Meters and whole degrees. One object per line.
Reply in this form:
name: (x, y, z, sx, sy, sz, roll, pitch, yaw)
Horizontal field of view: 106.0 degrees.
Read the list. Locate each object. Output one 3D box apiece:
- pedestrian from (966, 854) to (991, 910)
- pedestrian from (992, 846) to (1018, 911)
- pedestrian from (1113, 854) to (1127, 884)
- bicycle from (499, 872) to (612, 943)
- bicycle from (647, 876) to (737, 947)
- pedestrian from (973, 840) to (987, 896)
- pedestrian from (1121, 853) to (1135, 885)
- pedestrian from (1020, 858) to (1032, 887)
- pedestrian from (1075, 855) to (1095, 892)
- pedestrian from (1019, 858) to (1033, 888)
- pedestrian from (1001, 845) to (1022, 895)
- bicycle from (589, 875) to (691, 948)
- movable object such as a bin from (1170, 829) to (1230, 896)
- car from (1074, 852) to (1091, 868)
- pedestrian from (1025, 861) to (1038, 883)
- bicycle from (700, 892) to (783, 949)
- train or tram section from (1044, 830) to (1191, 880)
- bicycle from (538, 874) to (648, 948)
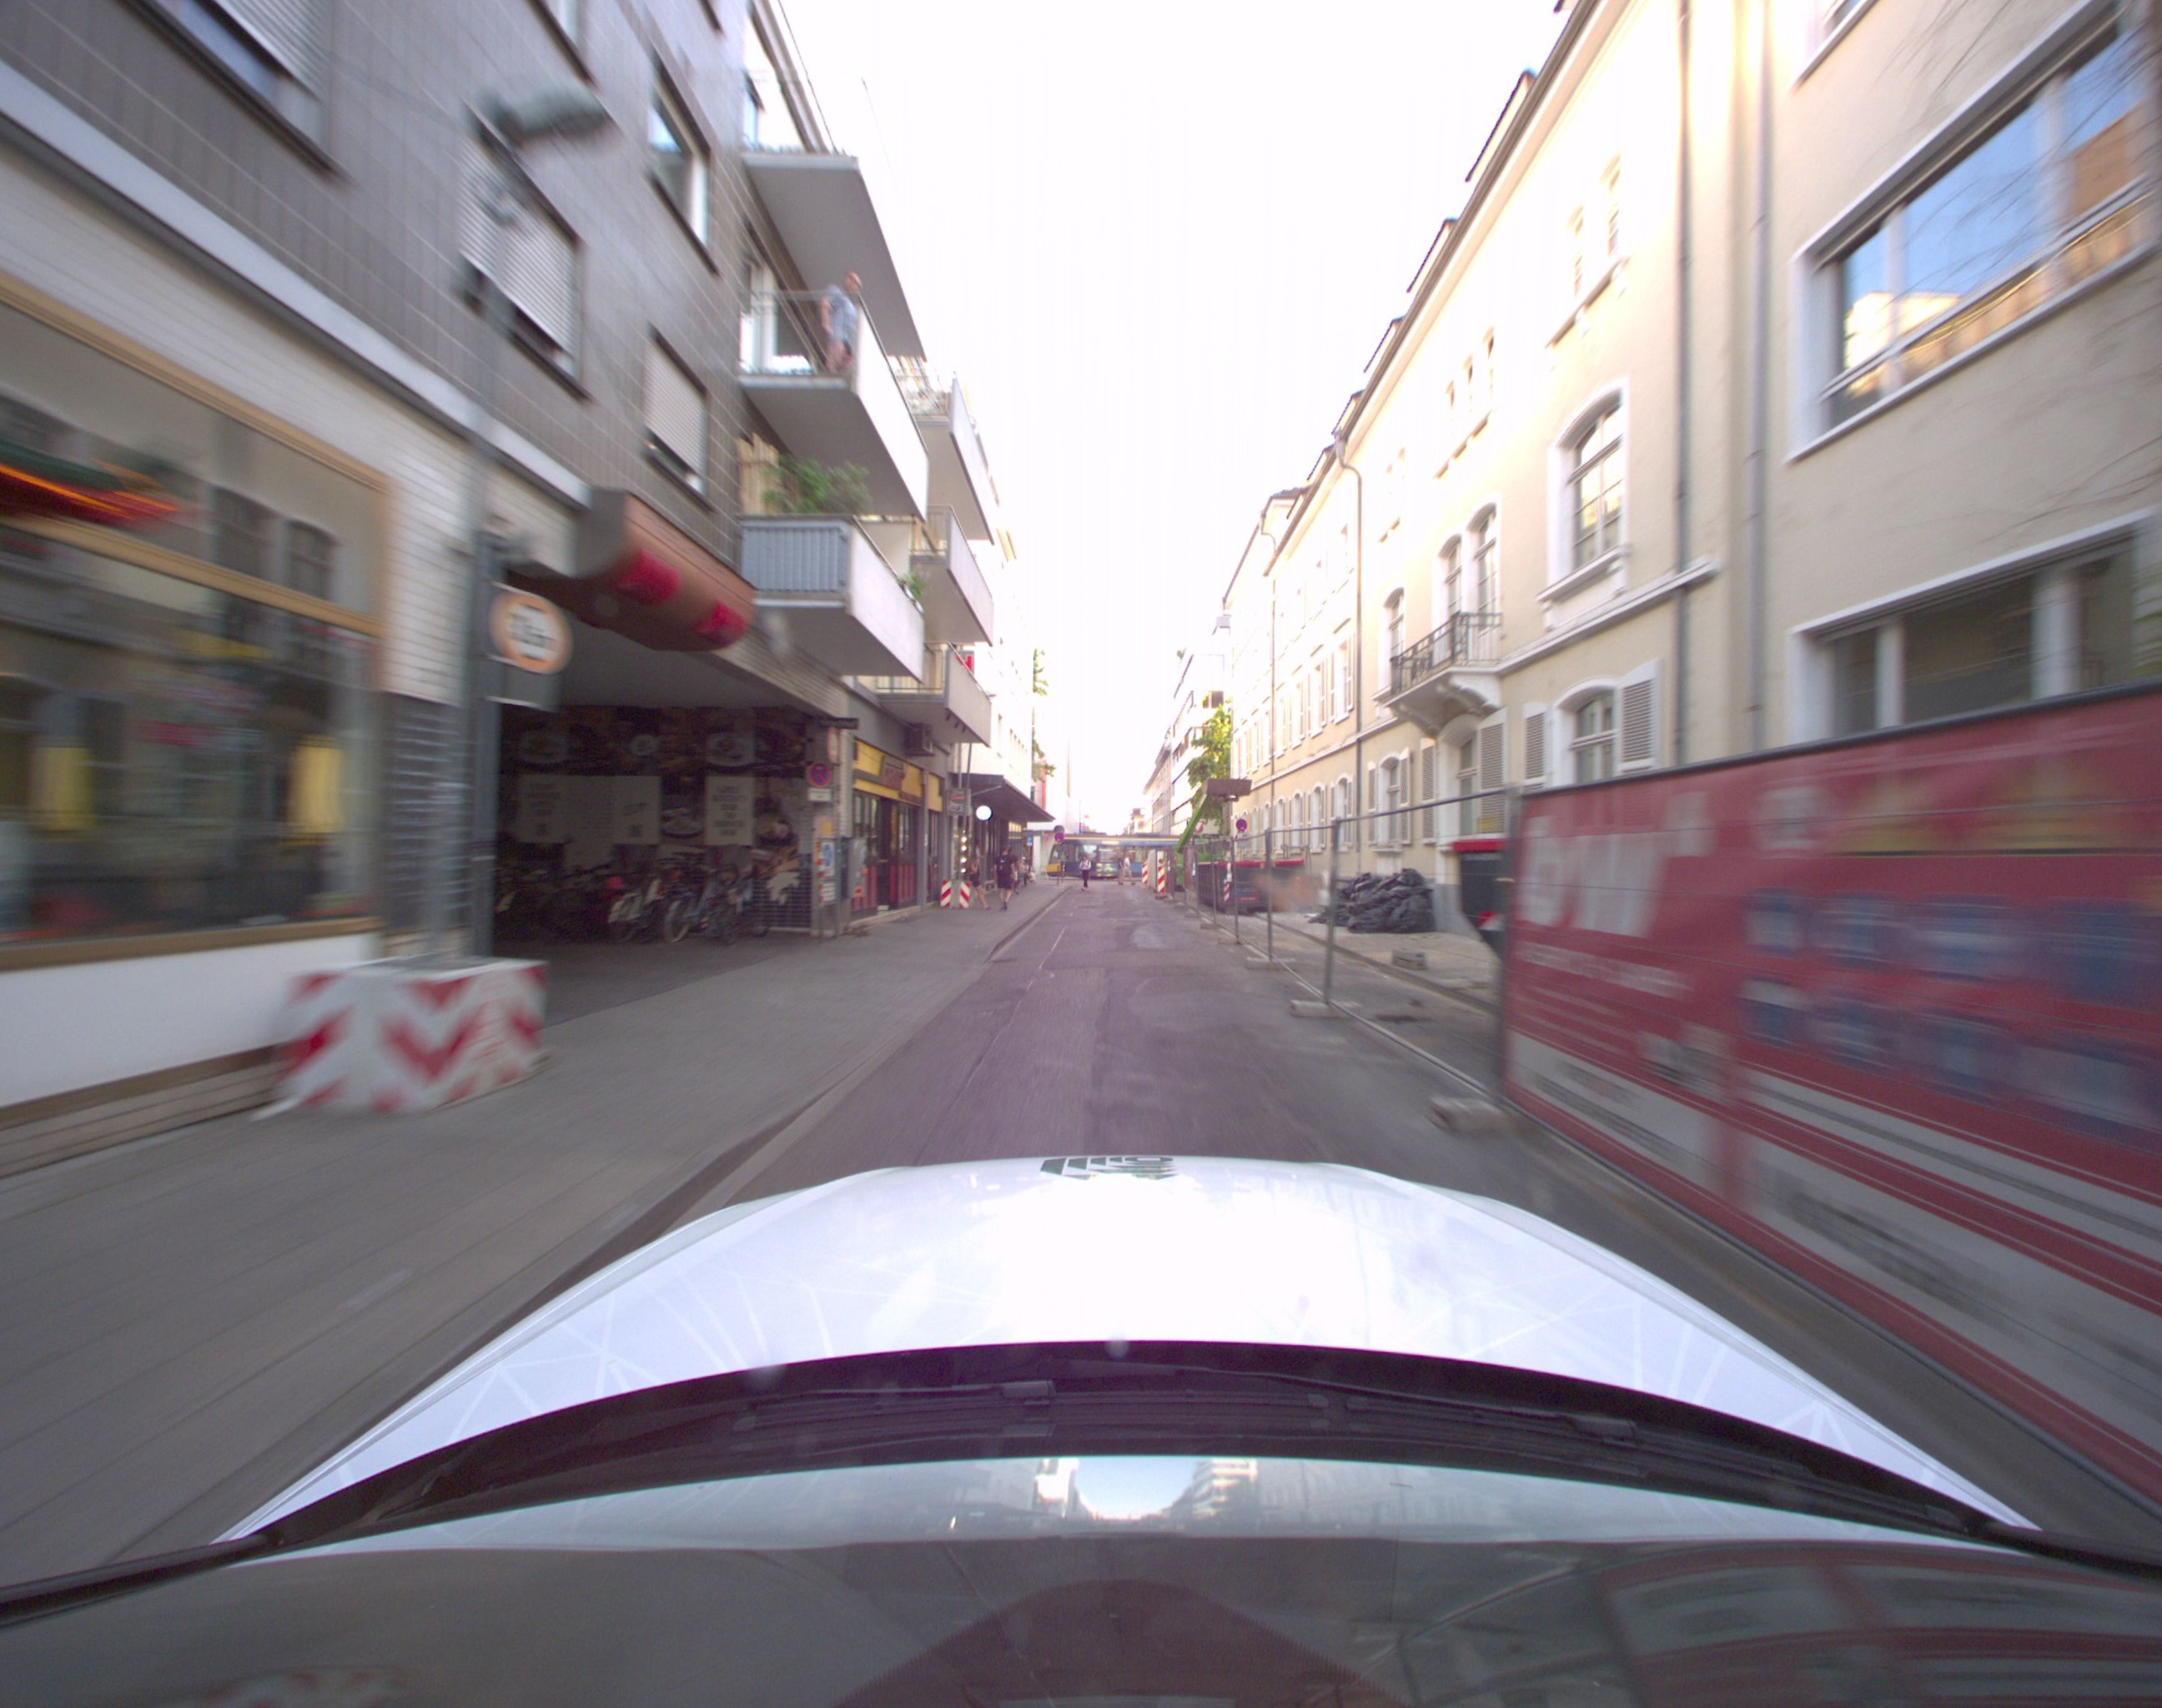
pedestrian: (-2.901, 0.777, 23.020, 0.646, 1.565, 0.628, 1, -1, -13)
pedestrian: (-2.129, 0.683, 22.895, 0.626, 1.808, 0.648, 1, -1, 3)
pedestrian: (2.330, 0.885, 48.168, 0.646, 1.810, 0.628, 1, -1, -15)
bicycle: (-8.279, 0.815, 12.938, 0.520, 1.010, 1.859, 1, 0, 2)
bicycle: (-6.127, 0.879, 12.929, 0.520, 1.010, 1.748, 1, 0, 2)
pedestrian: (-3.619, 0.504, 29.227, 0.409, 2.014, 0.453, 1, -1, -1)
pedestrian: (2.728, 0.855, 47.167, 0.646, 1.810, 0.628, 1, -1, -15)
pedestrian: (-2.723, 0.903, 40.241, 0.540, 1.387, 0.625, 1, -1, 2)
pedestrian: (0.175, 0.902, 38.447, 0.713, 1.740, 0.651, 0, -1, 24)
pedestrian: (-2.662, 0.912, 39.226, 0.556, 1.390, 0.893, 2, 1, 2)
pedestrian: (-2.662, 0.625, 31.146, 0.656, 1.886, 0.570, 1, -1, -19)
bicycle: (-6.827, 0.853, 12.710, 0.520, 1.010, 1.859, 1, 0, 2)
movable object such as a bin: (5.958, 0.374, 41.275, 2.461, 3.130, 4.299, 2, 1, 2)
car: (0.148, 0.536, 72.766, 1.469, 1.398, 3.333, 1, 0, 2)
pedestrian: (-2.598, 0.960, 43.202, 0.616, 1.172, 0.787, 1, -1, 1)
bicycle: (-5.359, 1.025, 12.949, 0.520, 0.761, 1.748, 1, 0, 2)
train or tram section: (2.644, 0.080, 59.480, 10.450, 3.460, 3.000, 1, -1, 1)
bicycle: (-7.447, 0.839, 12.533, 0.520, 1.010, 1.859, 1, 0, 2)
